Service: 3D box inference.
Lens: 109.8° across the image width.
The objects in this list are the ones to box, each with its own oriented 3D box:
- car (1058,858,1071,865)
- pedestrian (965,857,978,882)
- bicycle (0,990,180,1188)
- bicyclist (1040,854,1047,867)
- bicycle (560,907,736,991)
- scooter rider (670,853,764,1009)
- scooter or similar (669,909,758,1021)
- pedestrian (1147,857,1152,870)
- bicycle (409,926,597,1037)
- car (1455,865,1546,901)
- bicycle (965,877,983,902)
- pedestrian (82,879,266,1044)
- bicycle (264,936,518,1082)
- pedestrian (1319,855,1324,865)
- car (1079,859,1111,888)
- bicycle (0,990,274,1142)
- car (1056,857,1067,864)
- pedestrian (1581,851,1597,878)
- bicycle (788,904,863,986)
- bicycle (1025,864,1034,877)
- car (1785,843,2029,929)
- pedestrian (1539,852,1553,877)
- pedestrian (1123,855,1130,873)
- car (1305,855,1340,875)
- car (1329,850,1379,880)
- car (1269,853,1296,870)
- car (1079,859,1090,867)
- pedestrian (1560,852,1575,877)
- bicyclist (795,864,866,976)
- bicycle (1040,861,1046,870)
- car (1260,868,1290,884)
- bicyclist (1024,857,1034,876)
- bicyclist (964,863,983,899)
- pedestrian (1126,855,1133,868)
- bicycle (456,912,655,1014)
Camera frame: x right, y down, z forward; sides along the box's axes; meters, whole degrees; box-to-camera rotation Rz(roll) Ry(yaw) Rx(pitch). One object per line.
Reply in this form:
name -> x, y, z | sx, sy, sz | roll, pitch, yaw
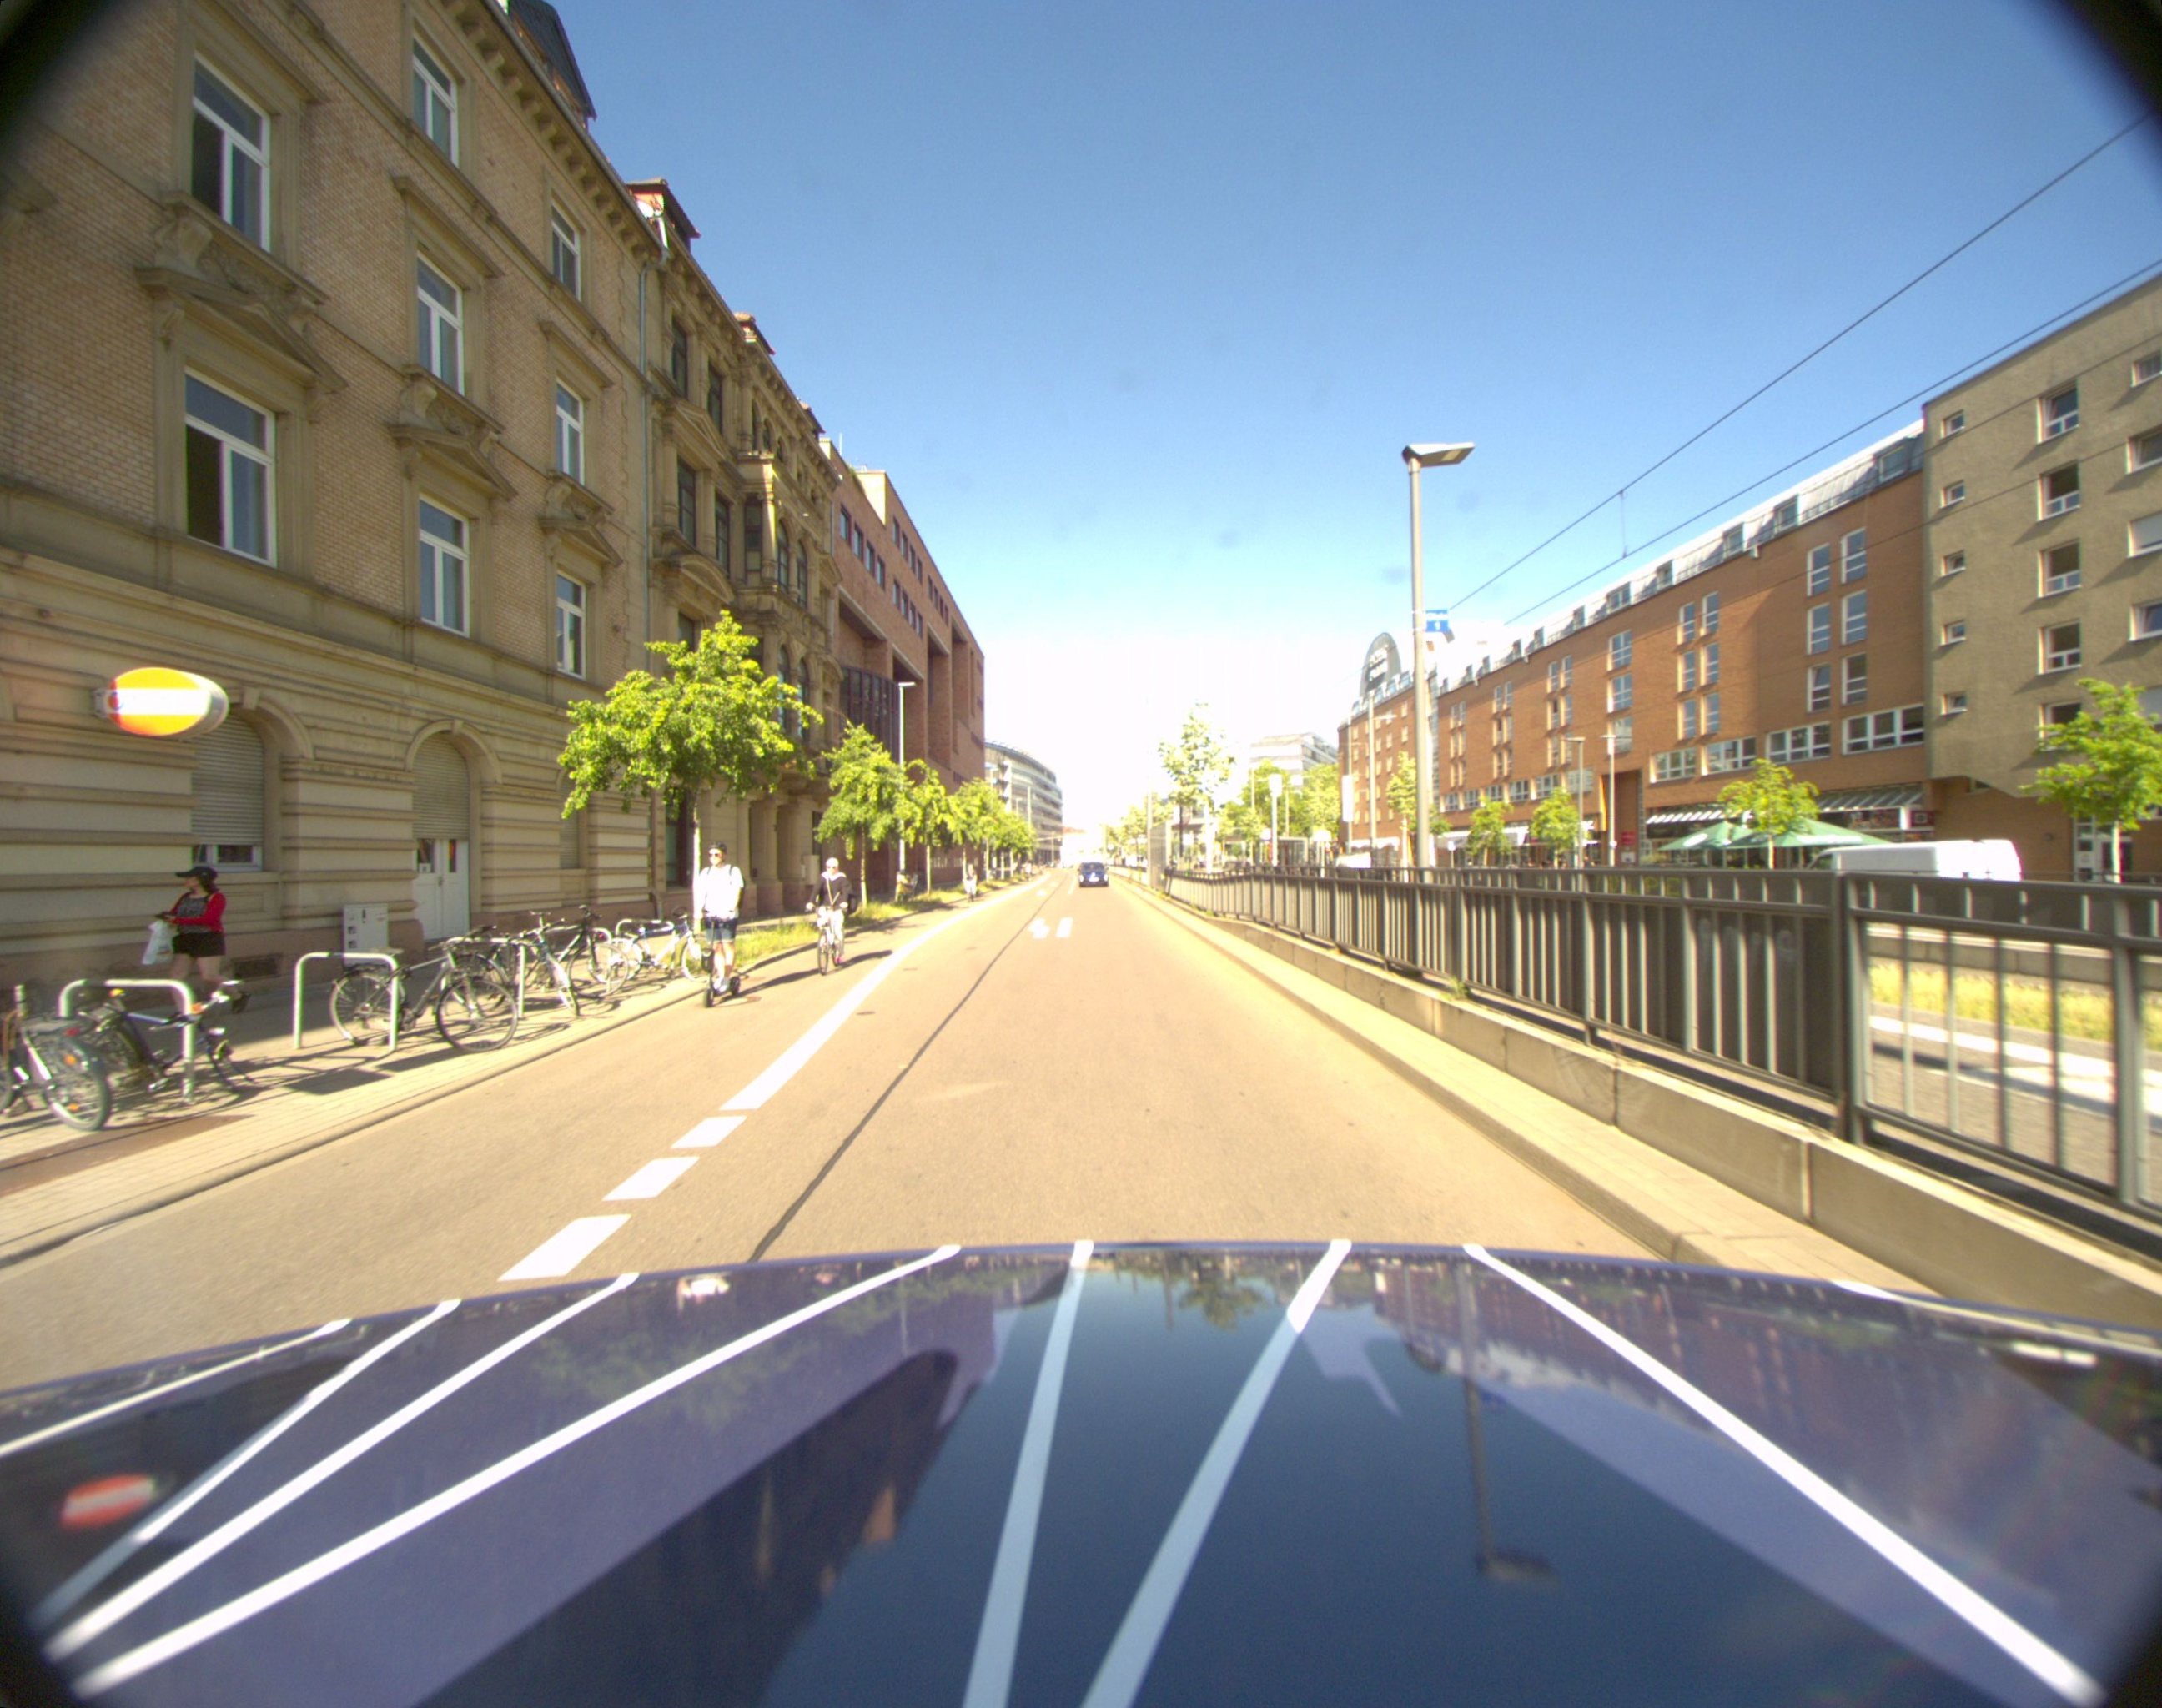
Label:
car -> -3.550, 1.603, 165.688 | 2.120, 1.547, 4.003 | 0, 0, 9
pedestrian -> -8.424, 1.160, 58.454 | 0.790, 1.872, 1.106 | 0, 0, 0
bicycle -> -6.508, 1.356, 4.562 | 1.673, 0.938, 0.607 | 0, 0, 8
bicyclist -> -4.918, 0.883, 98.508 | 0.755, 1.607, 0.762 | -3, 0, 3
bicycle -> -6.167, 1.351, 10.942 | 2.001, 1.086, 0.846 | 2, 0, -9
scooter rider -> -4.554, 0.927, 9.572 | 0.668, 1.850, 0.901 | -3, 0, 0
scooter or similar -> -4.583, 1.357, 9.557 | 0.492, 1.219, 1.170 | -3, 0, 0
pedestrian -> 8.471, 1.163, 93.833 | 0.609, 1.560, 0.909 | 0, 0, 2
bicycle -> -6.254, 1.362, 8.259 | 1.603, 1.039, 0.607 | 2, 0, 4
car -> 17.853, 1.209, 32.549 | 1.699, 1.279, 3.960 | -2, 1, 0
bicycle -> -4.782, 1.558, 33.969 | 0.558, 1.021, 1.507 | -3, 0, 0
pedestrian -> -9.074, 1.031, 7.650 | 0.711, 1.533, 0.927 | 0, 0, 0
bicycle -> -6.045, 1.330, 6.701 | 1.727, 1.094, 0.607 | 2, 0, 4
pedestrian -> 37.839, 0.955, 119.433 | 0.645, 1.601, 0.728 | 0, 0, 5
car -> 0.852, 1.145, 46.382 | 1.802, 1.596, 3.999 | -2, 1, 1
bicycle -> -6.639, 1.420, 5.230 | 1.673, 0.816, 0.607 | 1, 0, 7
car -> -4.664, 1.624, 181.999 | 1.882, 1.455, 4.002 | -2, 1, 7
pedestrian -> 34.604, 0.735, 51.770 | 0.622, 1.829, 0.645 | 0, 0, 1
bicycle -> -4.066, 1.419, 12.232 | 0.558, 1.086, 1.792 | -3, 0, 0
bicycle -> -4.641, 1.514, 68.840 | 0.578, 1.090, 1.507 | -3, 0, 2
car -> 25.173, 0.887, 23.591 | 1.997, 2.356, 5.649 | -1, 0, 8
pedestrian -> 35.052, 0.777, 57.287 | 0.622, 1.829, 0.644 | 0, 0, -1
pedestrian -> 4.551, 0.998, 76.024 | 0.710, 1.713, 0.752 | 0, 1, -1
car -> 22.496, 0.980, 70.855 | 1.998, 1.674, 3.999 | -2, 1, 1
car -> 18.113, 0.690, 50.643 | 1.824, 1.784, 4.088 | -2, 1, 0
car -> 22.785, 0.828, 85.922 | 1.998, 1.674, 3.999 | -2, 1, 1
car -> 0.756, 1.949, 165.615 | 1.882, 1.455, 4.002 | -2, 1, 8
pedestrian -> 35.681, 0.782, 55.726 | 0.622, 1.829, 0.644 | 0, 0, -1
bicyclist -> -4.027, 1.039, 12.259 | 0.781, 1.701, 0.868 | -3, 0, 0
bicycle -> -4.864, 1.468, 98.597 | 0.578, 1.090, 1.507 | -3, 0, 3
car -> 17.681, 1.986, 69.426 | 1.699, 1.279, 3.960 | -2, 1, 0
bicyclist -> -4.678, 1.149, 68.726 | 0.684, 1.718, 0.909 | -3, 0, 3
bicyclist -> -4.798, 1.191, 34.003 | 0.659, 1.528, 0.909 | -3, 0, 0
pedestrian -> 5.910, 0.948, 92.489 | 0.608, 1.560, 0.728 | -1, 0, 20
bicycle -> -6.579, 1.348, 9.574 | 1.999, 1.121, 0.710 | 2, 0, 2
